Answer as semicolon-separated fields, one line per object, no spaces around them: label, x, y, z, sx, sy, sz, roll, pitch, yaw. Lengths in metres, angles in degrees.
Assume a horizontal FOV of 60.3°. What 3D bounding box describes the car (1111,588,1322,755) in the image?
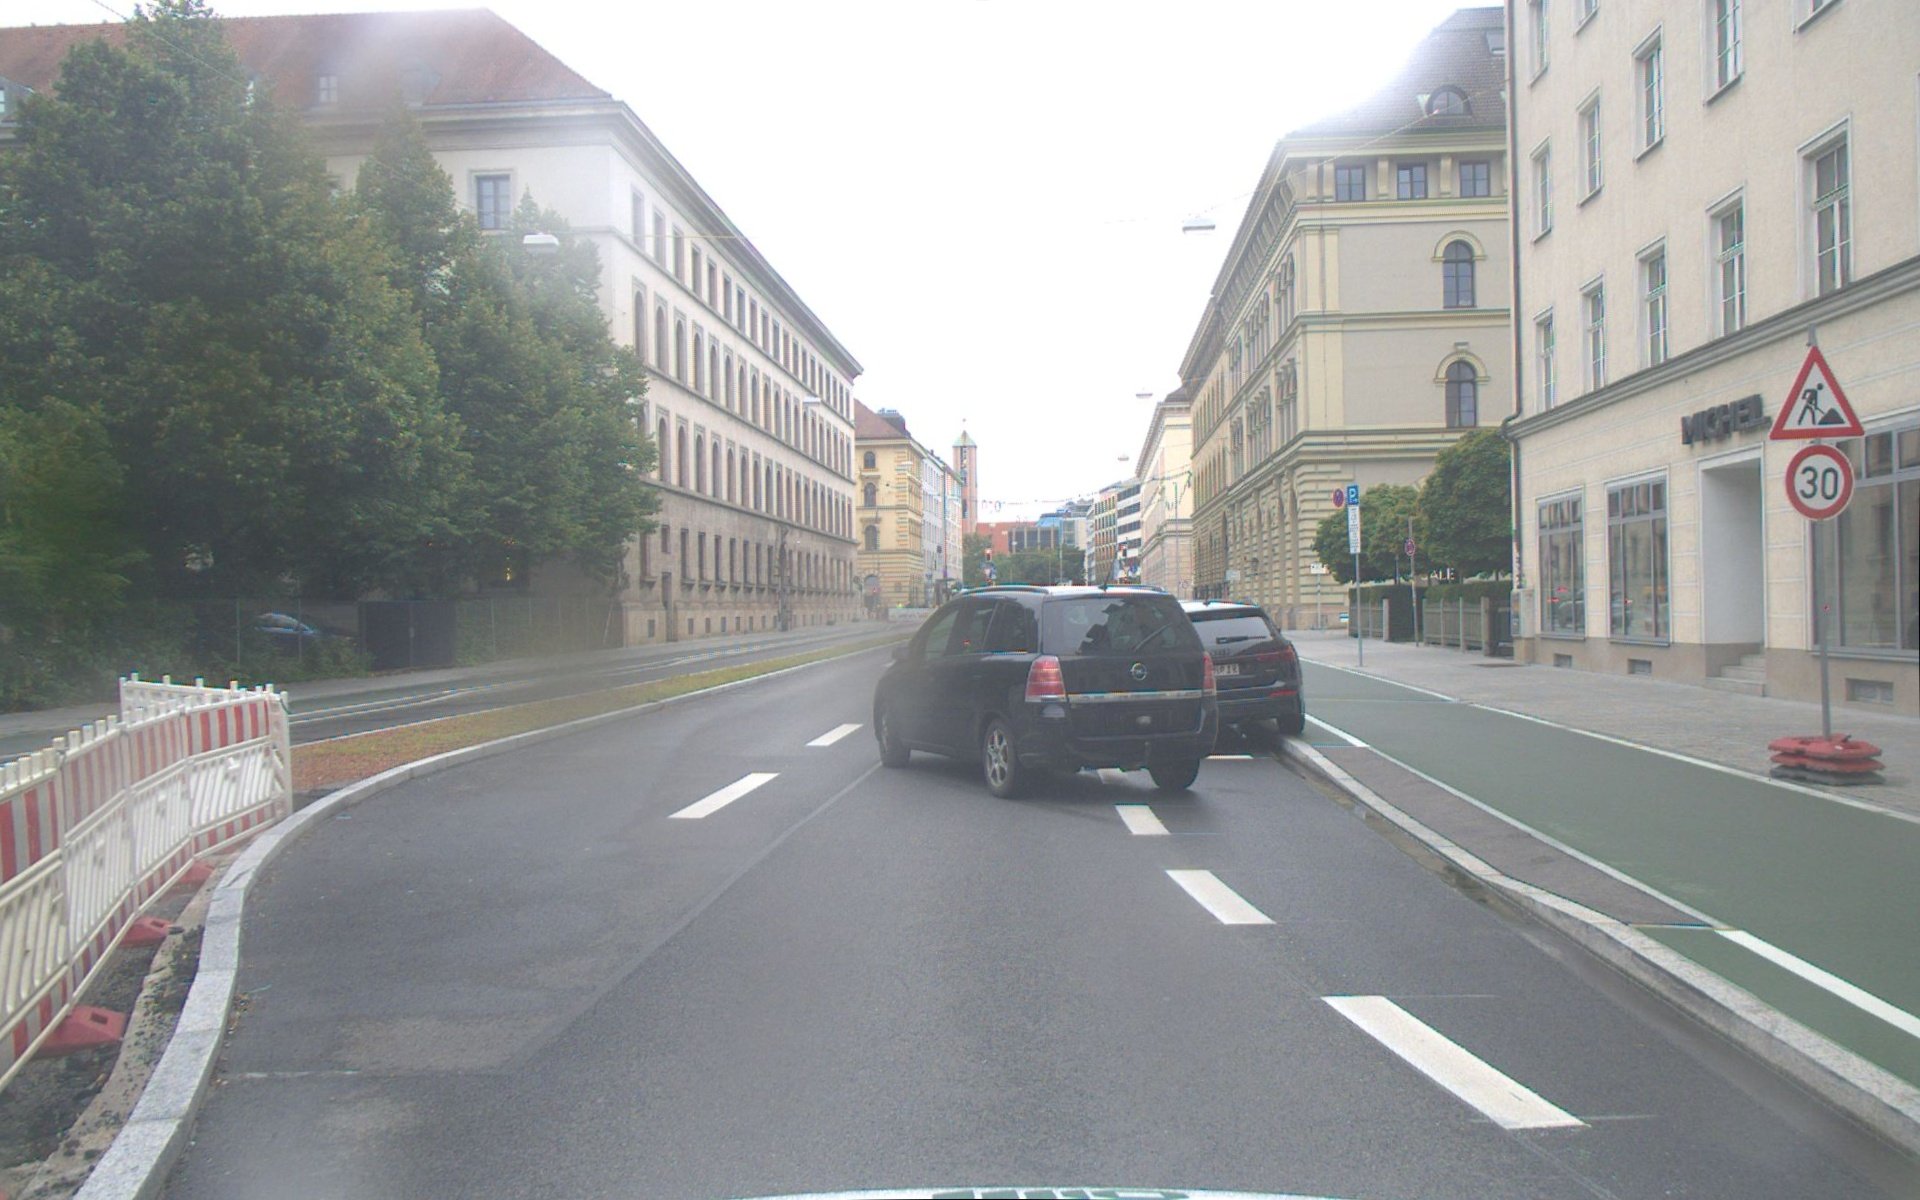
car;2.751;0.707;18.681;1.771;1.506;4.464;-5;0;3

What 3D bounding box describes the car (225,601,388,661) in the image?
car;-19.754;0.933;50.094;4.172;1.678;1.805;-2;0;4

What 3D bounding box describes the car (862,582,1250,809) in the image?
car;0.647;0.682;14.157;1.741;1.644;4.001;0;0;-23

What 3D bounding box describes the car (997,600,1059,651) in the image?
car;2.035;0.713;48.389;1.693;1.427;4.002;0;0;4

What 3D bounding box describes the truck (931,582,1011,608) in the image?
truck;1.062;-0.458;153.726;7.229;2.292;2.181;0;-1;6

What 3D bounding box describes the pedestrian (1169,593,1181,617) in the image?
pedestrian;15.021;0.338;115.582;0.695;1.646;0.755;-1;0;4

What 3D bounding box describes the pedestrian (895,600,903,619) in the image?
pedestrian;-5.918;0.928;160.140;0.642;1.836;0.727;-1;0;4

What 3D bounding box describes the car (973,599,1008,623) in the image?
car;1.957;0.687;104.285;1.951;1.469;4.002;-1;0;4

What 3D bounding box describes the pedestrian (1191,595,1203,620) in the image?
pedestrian;15.718;0.490;109.602;0.695;1.646;0.755;-1;0;4

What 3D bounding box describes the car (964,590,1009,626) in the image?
car;1.352;0.382;81.943;1.951;1.656;4.002;-1;0;4

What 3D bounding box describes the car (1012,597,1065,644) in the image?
car;2.654;0.655;55.215;1.693;1.486;4.002;0;0;4
